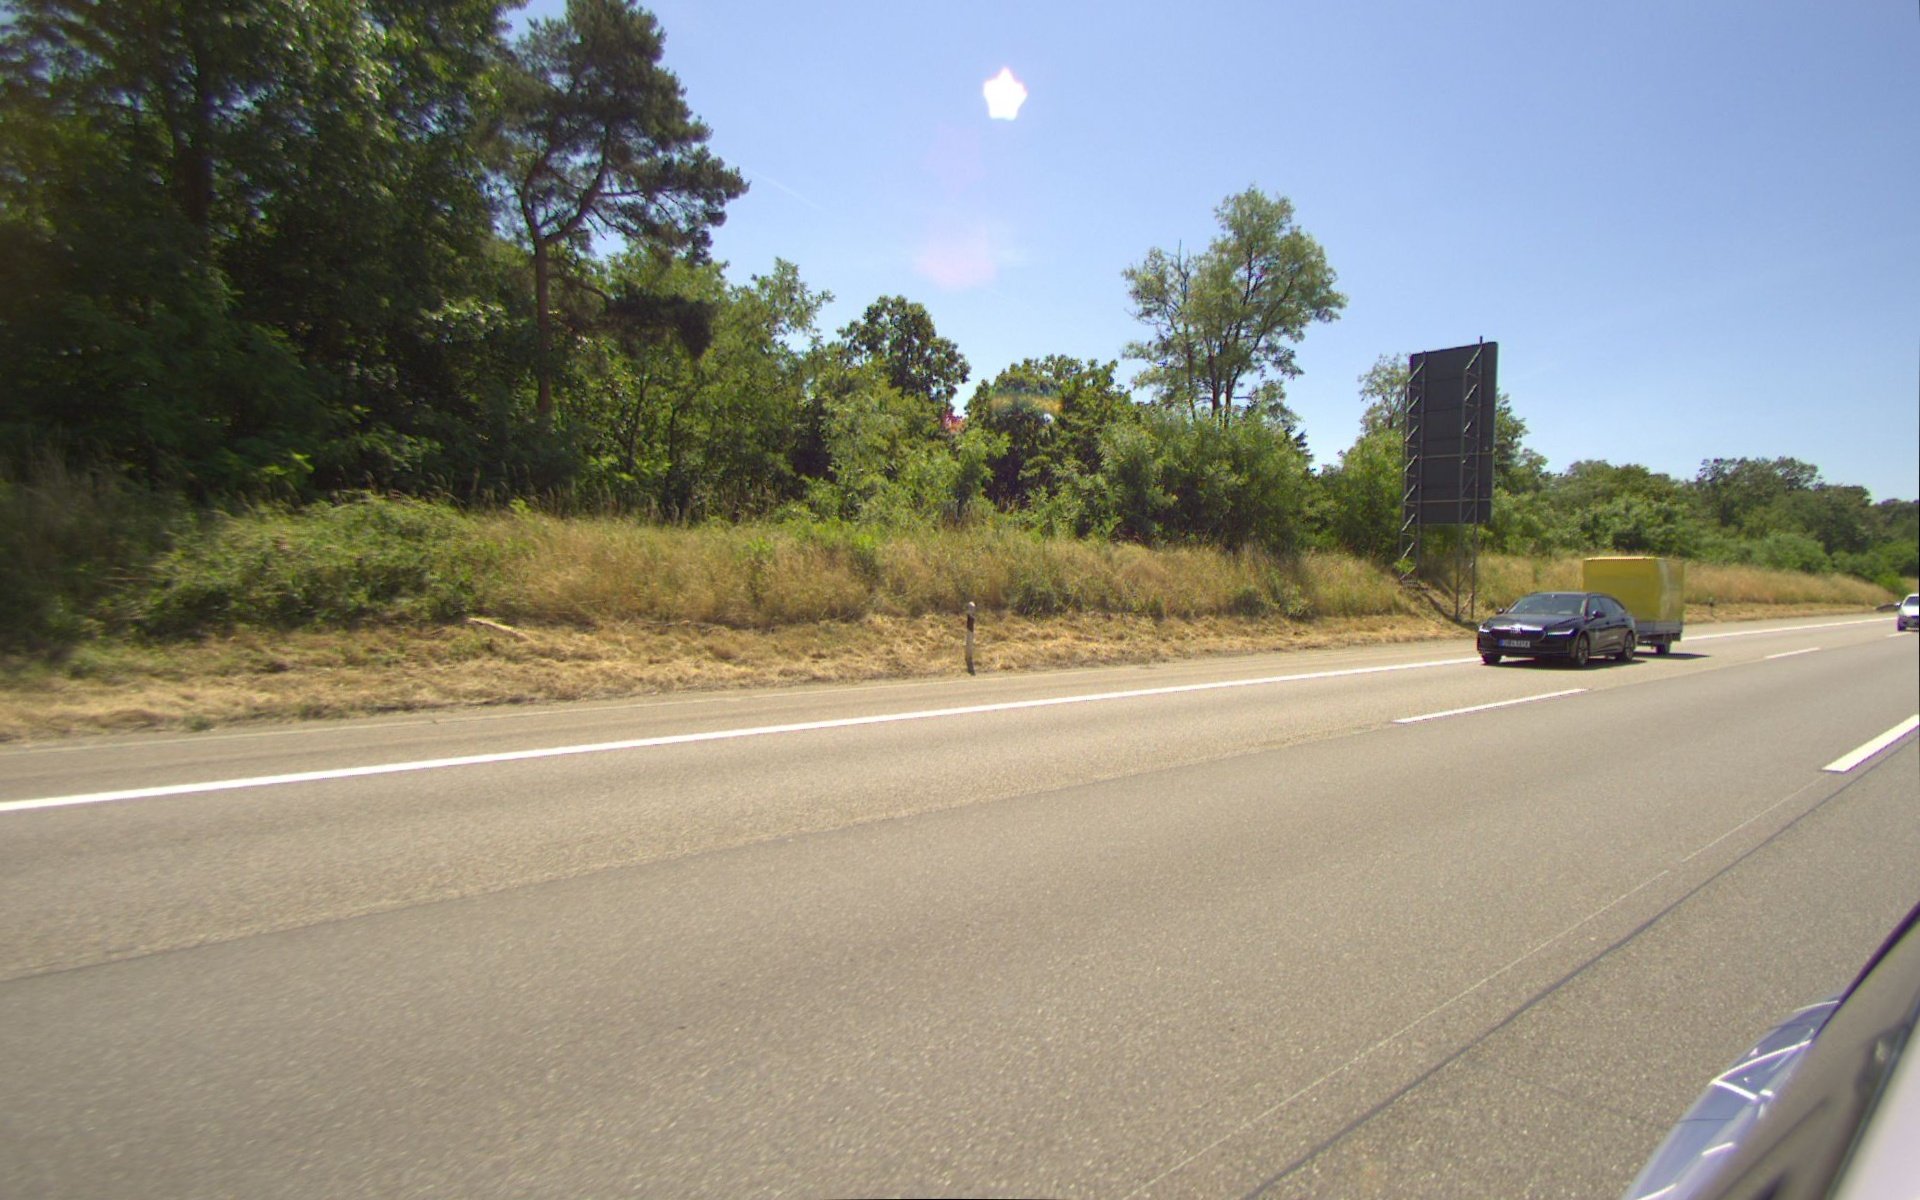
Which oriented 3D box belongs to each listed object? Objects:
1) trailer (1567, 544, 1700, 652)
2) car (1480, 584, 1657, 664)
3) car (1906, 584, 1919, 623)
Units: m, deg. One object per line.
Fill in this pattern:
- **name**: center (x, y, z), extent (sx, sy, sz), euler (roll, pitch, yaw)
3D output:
- **trailer**: center (15.852, -0.070, 23.752), extent (3.773, 2.318, 1.706), euler (-1, 1, -41)
- **car**: center (12.651, 0.404, 20.922), extent (4.705, 1.474, 1.824), euler (-1, 1, -41)
- **car**: center (38.363, 0.141, 39.412), extent (3.909, 1.484, 1.749), euler (0, 0, -40)
